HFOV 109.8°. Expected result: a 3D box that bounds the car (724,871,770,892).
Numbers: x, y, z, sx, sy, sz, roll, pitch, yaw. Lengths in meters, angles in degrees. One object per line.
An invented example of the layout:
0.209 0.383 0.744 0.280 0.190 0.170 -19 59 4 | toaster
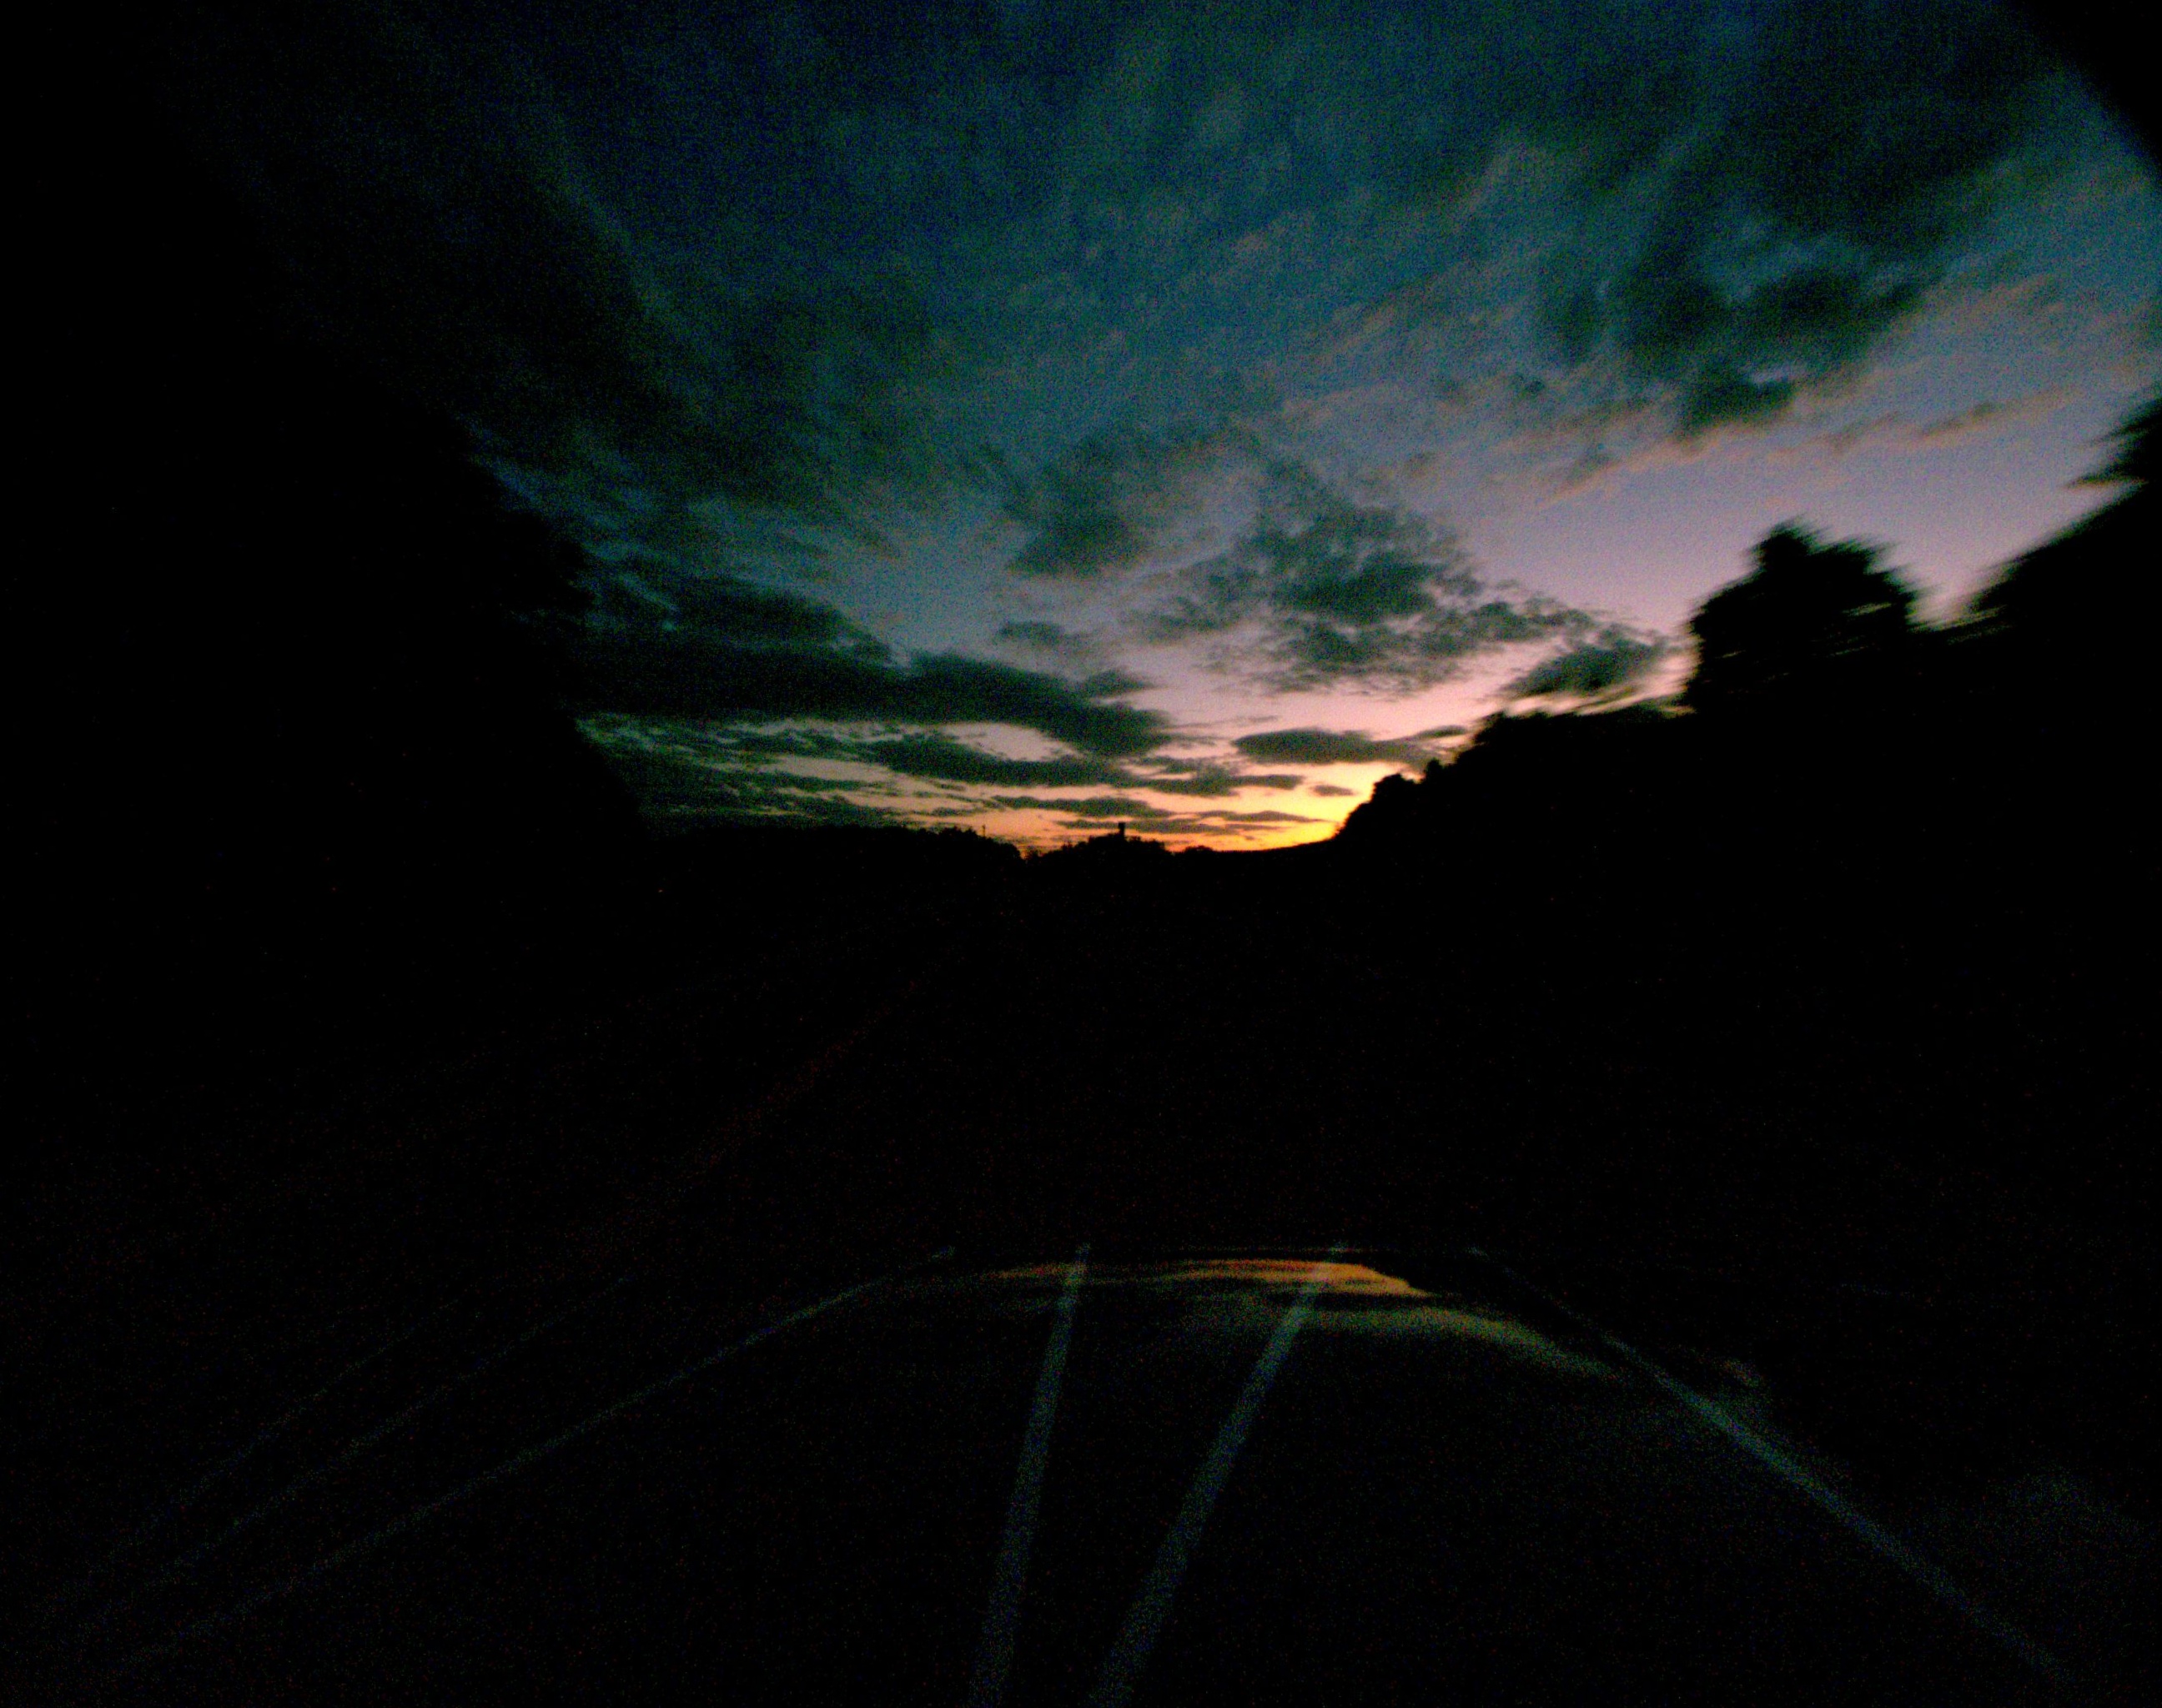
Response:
-43.274 3.526 98.391 6.480 2.514 2.269 -2 1 33 | car
